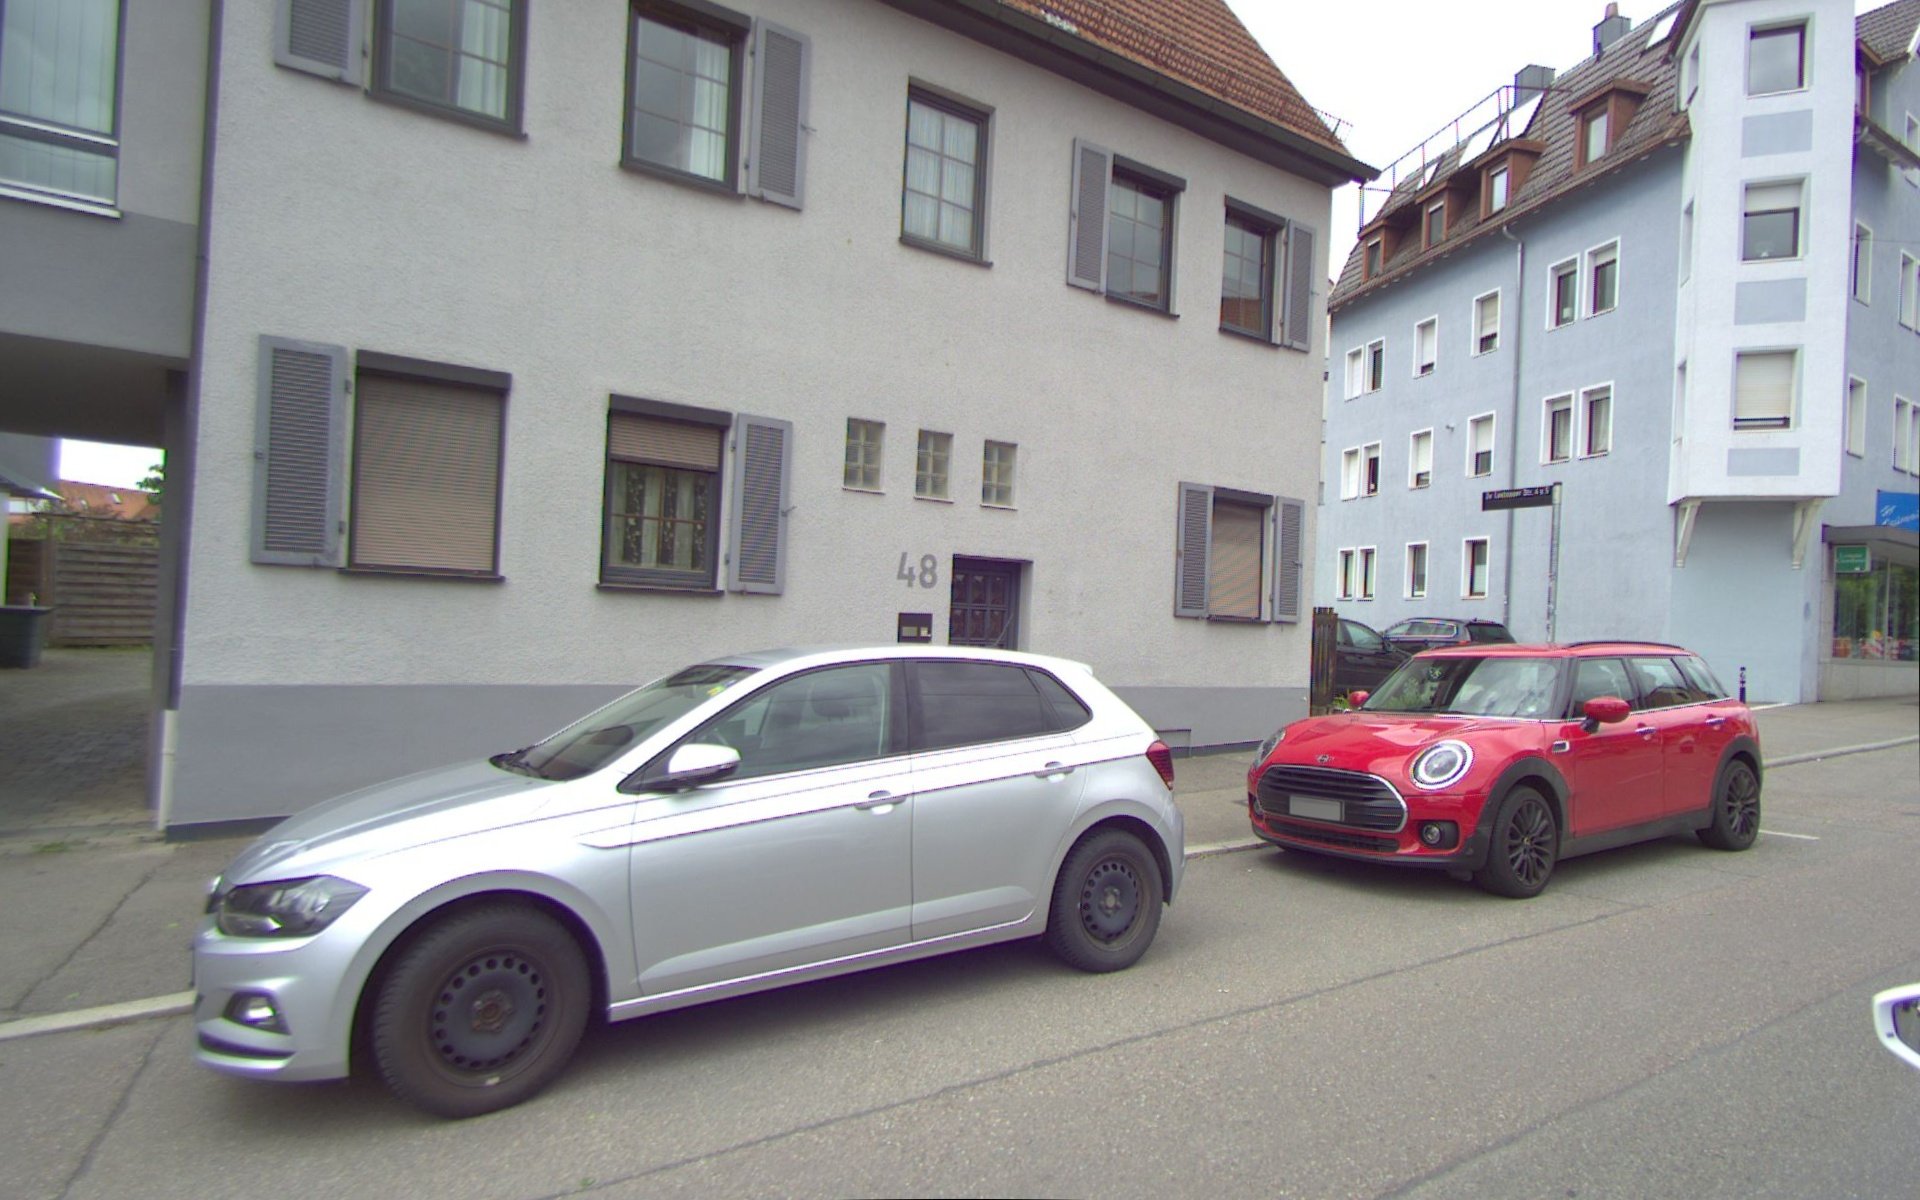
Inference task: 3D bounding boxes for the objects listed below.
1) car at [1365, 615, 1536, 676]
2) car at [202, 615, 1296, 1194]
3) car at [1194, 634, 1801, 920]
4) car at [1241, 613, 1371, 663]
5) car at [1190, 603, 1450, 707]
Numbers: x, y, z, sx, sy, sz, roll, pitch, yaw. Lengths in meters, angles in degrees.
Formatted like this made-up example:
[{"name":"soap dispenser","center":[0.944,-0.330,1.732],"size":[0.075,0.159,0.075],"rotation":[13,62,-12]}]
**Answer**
[{"name":"car","center":[11.826,1.059,24.543],"size":[1.692,1.370,3.992],"rotation":[1,-1,-11]},{"name":"car","center":[-0.626,0.881,4.549],"size":[4.305,1.493,1.768],"rotation":[1,-4,-33]},{"name":"car","center":[3.918,1.006,7.178],"size":[4.301,1.493,1.850],"rotation":[1,-3,-30]},{"name":"car","center":[10.636,1.133,31.249],"size":[1.964,1.411,4.408],"rotation":[1,-1,-10]},{"name":"car","center":[6.416,0.918,17.817],"size":[4.363,1.573,1.984],"rotation":[1,2,-30]}]
